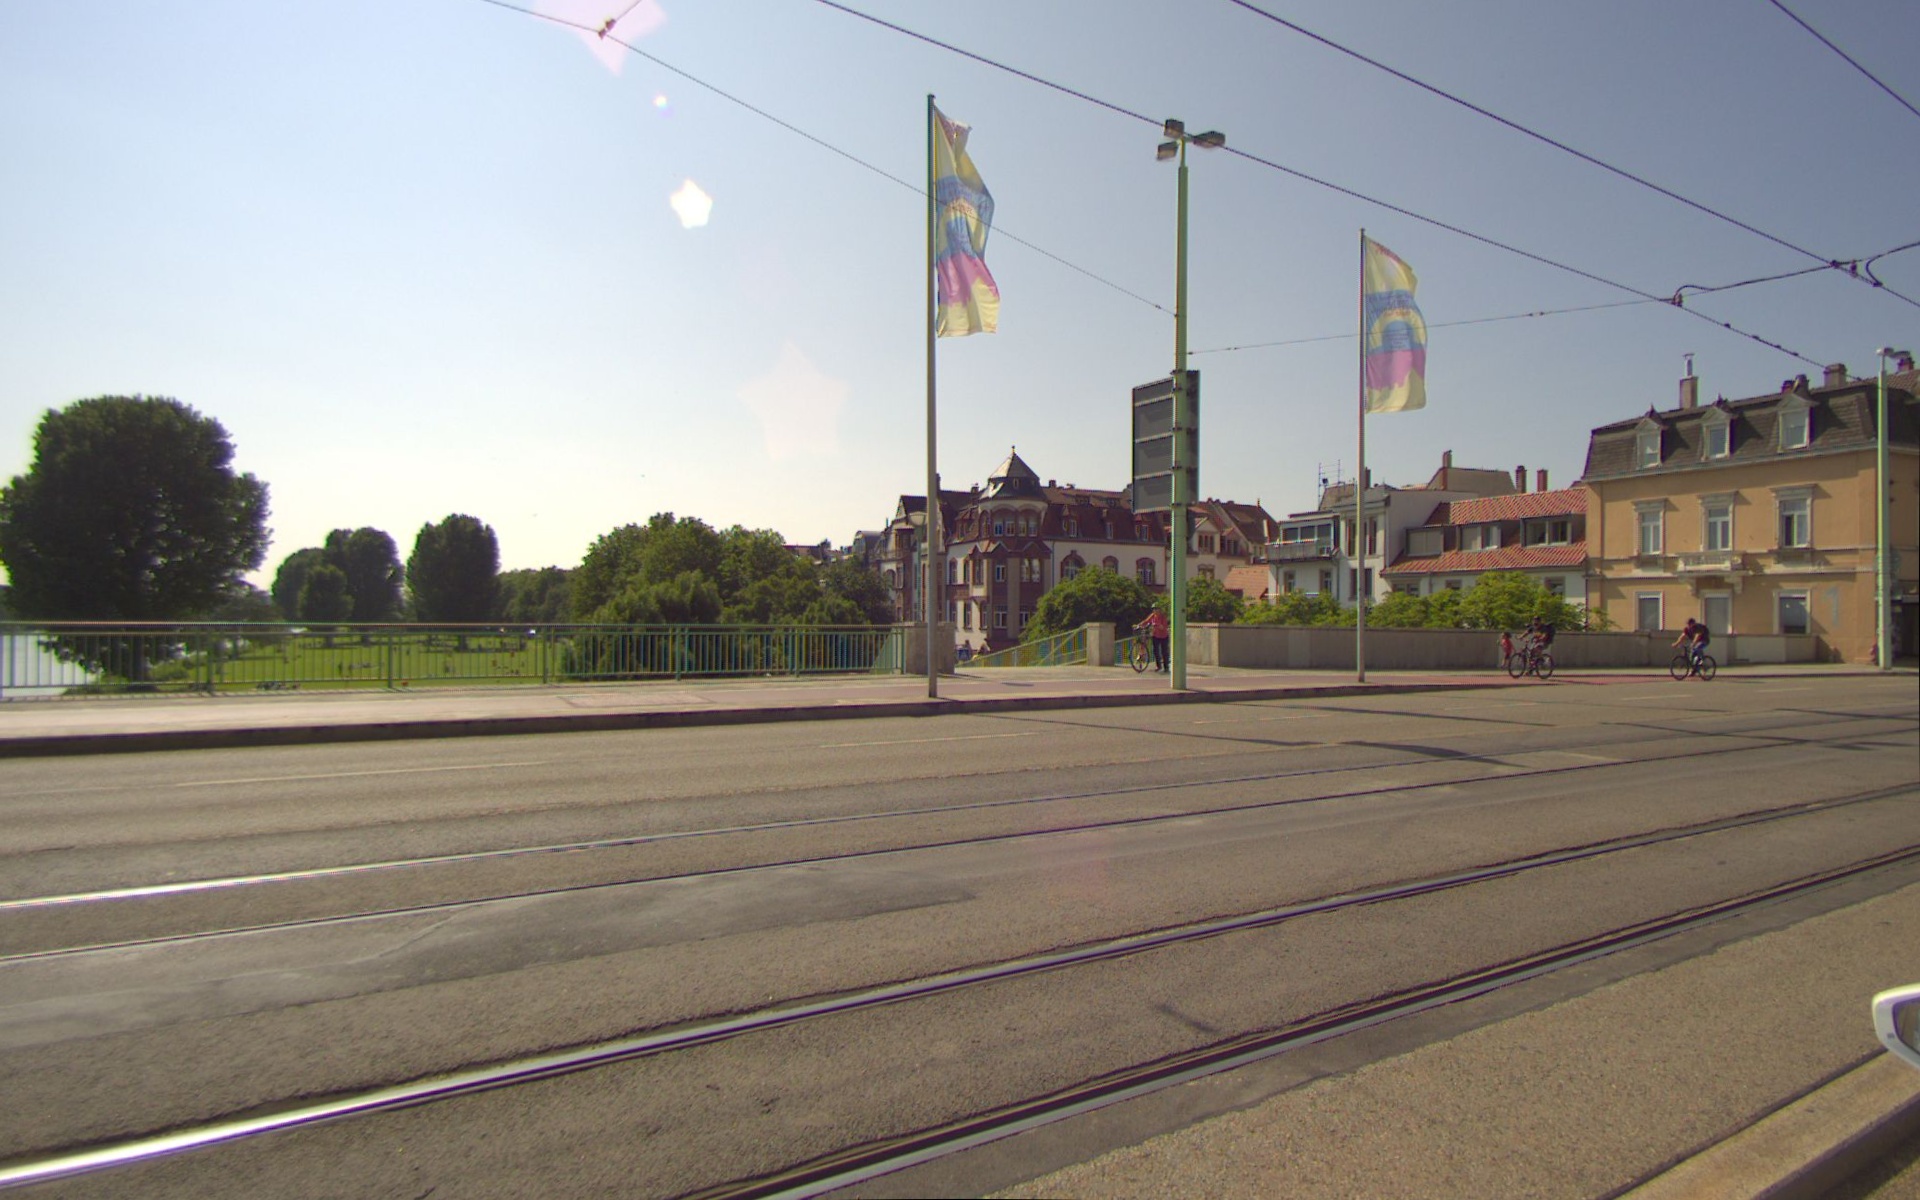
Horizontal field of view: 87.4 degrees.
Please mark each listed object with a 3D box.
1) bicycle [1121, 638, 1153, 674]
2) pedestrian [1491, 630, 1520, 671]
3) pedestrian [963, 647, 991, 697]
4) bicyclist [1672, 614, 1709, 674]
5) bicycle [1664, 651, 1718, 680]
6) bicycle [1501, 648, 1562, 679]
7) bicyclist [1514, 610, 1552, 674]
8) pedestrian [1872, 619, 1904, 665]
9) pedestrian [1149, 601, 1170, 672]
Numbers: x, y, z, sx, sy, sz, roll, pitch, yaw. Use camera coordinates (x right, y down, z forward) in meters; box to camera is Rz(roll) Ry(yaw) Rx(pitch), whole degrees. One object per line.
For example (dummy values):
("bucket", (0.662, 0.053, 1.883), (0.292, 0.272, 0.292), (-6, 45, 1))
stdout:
("bicycle", (4.284, 1.327, 24.250), (0.610, 0.726, 1.934), (1, 1, 14))
("pedestrian", (15.904, 1.474, 29.270), (0.536, 1.161, 0.411), (2, 3, -19))
("pedestrian", (0.633, 2.638, 36.981), (0.790, 1.804, 0.743), (1, -1, -25))
("bicyclist", (20.928, 1.237, 28.761), (0.614, 1.672, 0.624), (0, 2, -29))
("bicycle", (20.967, 1.860, 28.805), (1.711, 0.726, 0.617), (0, 1, -30))
("bicycle", (15.341, 1.700, 26.971), (1.750, 0.726, 0.617), (0, 1, -30))
("bicyclist", (15.398, 1.122, 26.985), (0.614, 1.672, 0.624), (0, 2, -29))
("pedestrian", (34.003, 1.533, 36.814), (0.559, 1.624, 0.646), (-1, 5, -29))
("pedestrian", (4.776, 0.854, 24.001), (0.405, 1.654, 0.628), (2, 1, 15))
